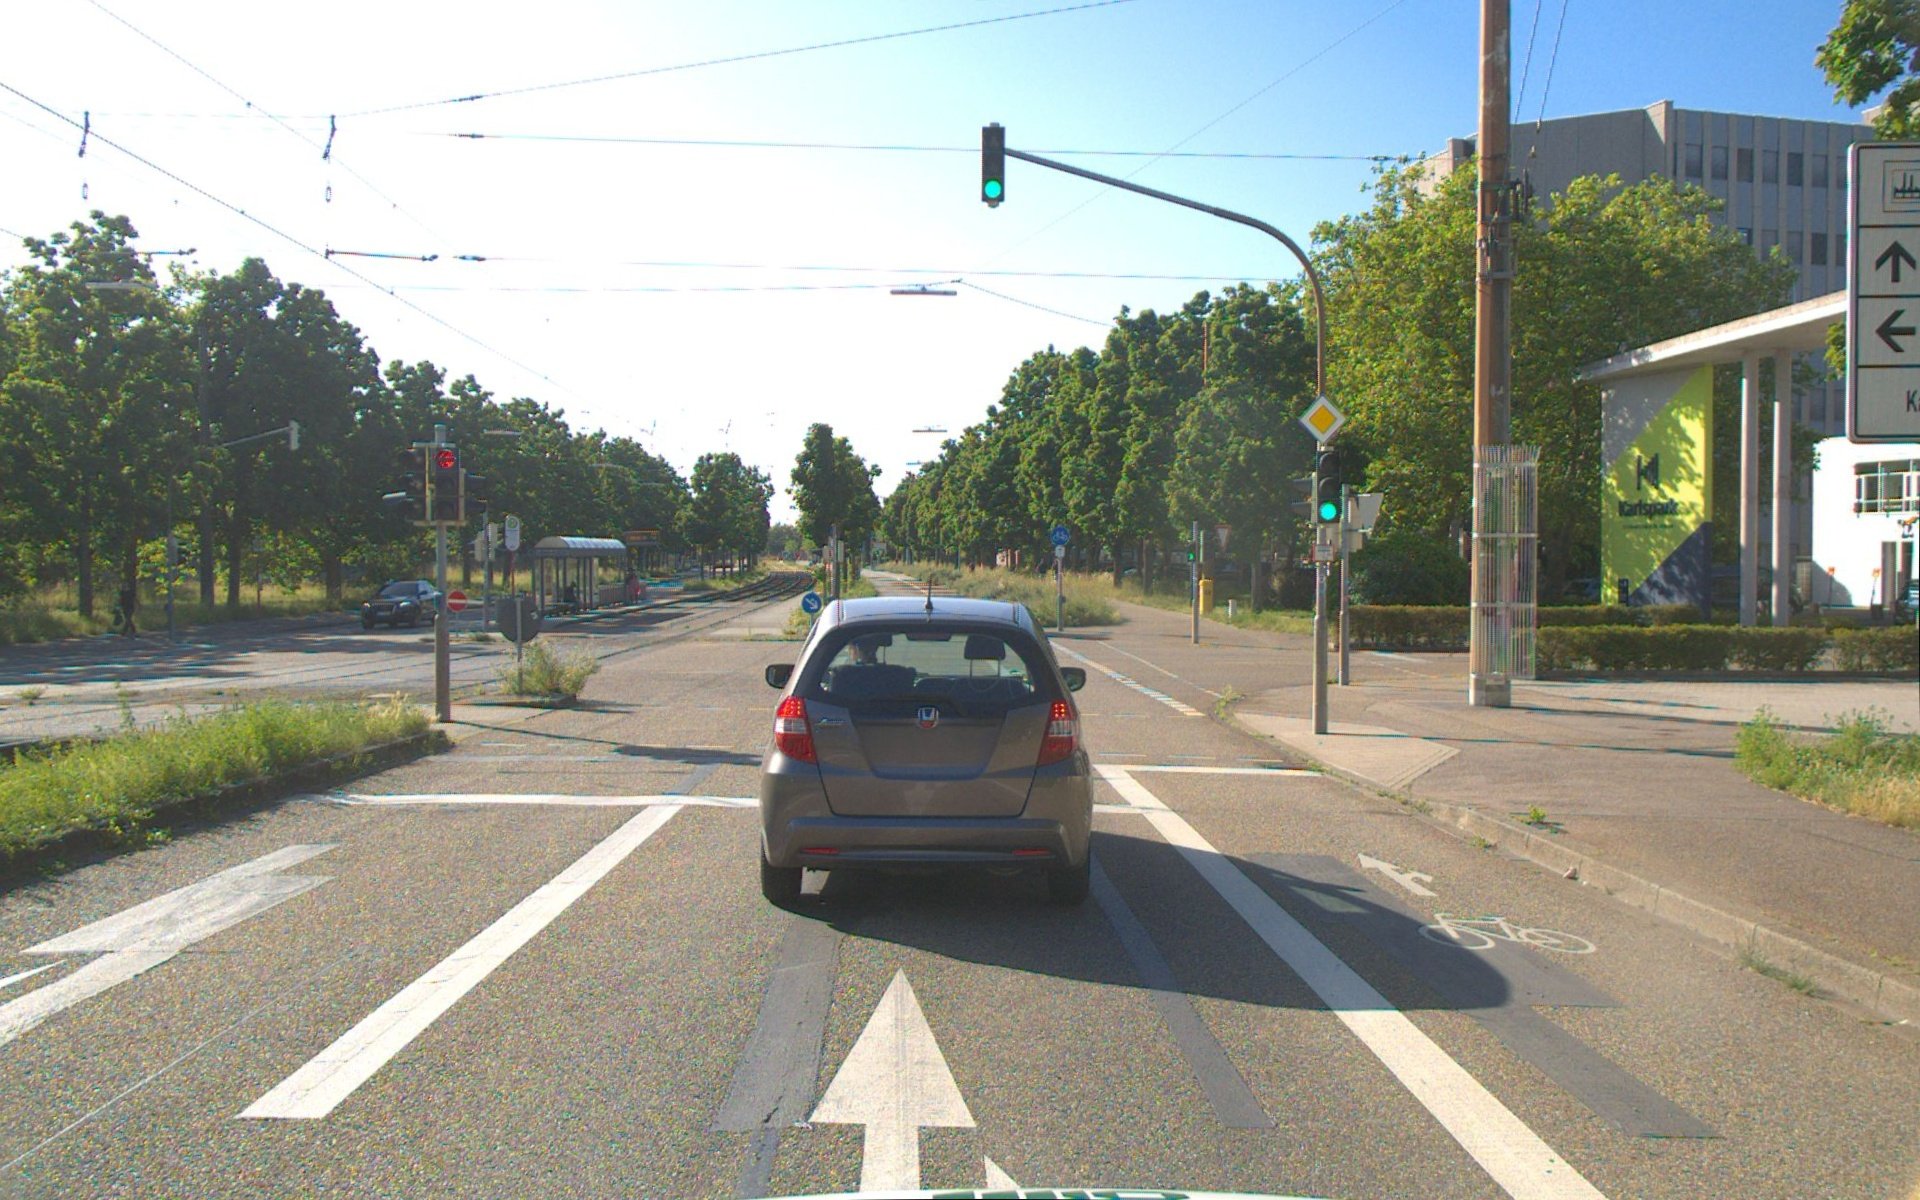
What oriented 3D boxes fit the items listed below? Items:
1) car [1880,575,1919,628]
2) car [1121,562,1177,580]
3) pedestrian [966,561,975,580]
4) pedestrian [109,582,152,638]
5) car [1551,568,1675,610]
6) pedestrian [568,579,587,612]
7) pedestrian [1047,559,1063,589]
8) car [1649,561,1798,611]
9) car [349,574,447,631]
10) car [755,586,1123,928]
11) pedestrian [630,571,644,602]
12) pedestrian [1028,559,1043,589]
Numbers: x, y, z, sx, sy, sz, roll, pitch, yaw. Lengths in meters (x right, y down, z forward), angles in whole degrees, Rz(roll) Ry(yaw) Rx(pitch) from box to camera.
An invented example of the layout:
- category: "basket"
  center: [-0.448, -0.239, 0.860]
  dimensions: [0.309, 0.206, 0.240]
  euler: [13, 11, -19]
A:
- category: "car"
  center: [30.635, 0.040, 50.683]
  dimensions: [3.914, 1.605, 1.950]
  euler: [0, 1, -10]
- category: "car"
  center: [16.504, -2.550, 144.757]
  dimensions: [4.543, 1.583, 1.997]
  euler: [-1, 1, -7]
- category: "pedestrian"
  center: [0.919, -2.599, 146.253]
  dimensions: [0.710, 1.720, 0.820]
  euler: [0, 0, -3]
- category: "pedestrian"
  center: [-26.559, 0.302, 52.959]
  dimensions: [0.744, 1.764, 0.936]
  euler: [0, 1, 27]
- category: "car"
  center: [26.639, -0.462, 67.553]
  dimensions: [4.371, 1.715, 1.892]
  euler: [0, 1, -7]
- category: "pedestrian"
  center: [-15.091, -0.172, 65.253]
  dimensions: [0.552, 1.279, 0.580]
  euler: [-2, 0, -2]
- category: "pedestrian"
  center: [6.030, -1.655, 105.014]
  dimensions: [0.865, 1.917, 0.875]
  euler: [0, 1, -5]
- category: "car"
  center: [28.005, -0.539, 60.711]
  dimensions: [4.803, 1.787, 2.083]
  euler: [0, 1, -16]
- category: "car"
  center: [-20.276, 0.058, 59.917]
  dimensions: [2.052, 1.841, 4.791]
  euler: [-2, 2, -3]
- category: "car"
  center: [-0.119, 0.716, 9.412]
  dimensions: [1.666, 1.550, 3.709]
  euler: [1, 0, -1]
- category: "pedestrian"
  center: [-15.580, -0.653, 79.807]
  dimensions: [0.533, 1.473, 0.559]
  euler: [-1, 0, -1]
- category: "pedestrian"
  center: [4.768, -1.668, 104.953]
  dimensions: [0.865, 1.917, 0.875]
  euler: [0, 1, -5]
